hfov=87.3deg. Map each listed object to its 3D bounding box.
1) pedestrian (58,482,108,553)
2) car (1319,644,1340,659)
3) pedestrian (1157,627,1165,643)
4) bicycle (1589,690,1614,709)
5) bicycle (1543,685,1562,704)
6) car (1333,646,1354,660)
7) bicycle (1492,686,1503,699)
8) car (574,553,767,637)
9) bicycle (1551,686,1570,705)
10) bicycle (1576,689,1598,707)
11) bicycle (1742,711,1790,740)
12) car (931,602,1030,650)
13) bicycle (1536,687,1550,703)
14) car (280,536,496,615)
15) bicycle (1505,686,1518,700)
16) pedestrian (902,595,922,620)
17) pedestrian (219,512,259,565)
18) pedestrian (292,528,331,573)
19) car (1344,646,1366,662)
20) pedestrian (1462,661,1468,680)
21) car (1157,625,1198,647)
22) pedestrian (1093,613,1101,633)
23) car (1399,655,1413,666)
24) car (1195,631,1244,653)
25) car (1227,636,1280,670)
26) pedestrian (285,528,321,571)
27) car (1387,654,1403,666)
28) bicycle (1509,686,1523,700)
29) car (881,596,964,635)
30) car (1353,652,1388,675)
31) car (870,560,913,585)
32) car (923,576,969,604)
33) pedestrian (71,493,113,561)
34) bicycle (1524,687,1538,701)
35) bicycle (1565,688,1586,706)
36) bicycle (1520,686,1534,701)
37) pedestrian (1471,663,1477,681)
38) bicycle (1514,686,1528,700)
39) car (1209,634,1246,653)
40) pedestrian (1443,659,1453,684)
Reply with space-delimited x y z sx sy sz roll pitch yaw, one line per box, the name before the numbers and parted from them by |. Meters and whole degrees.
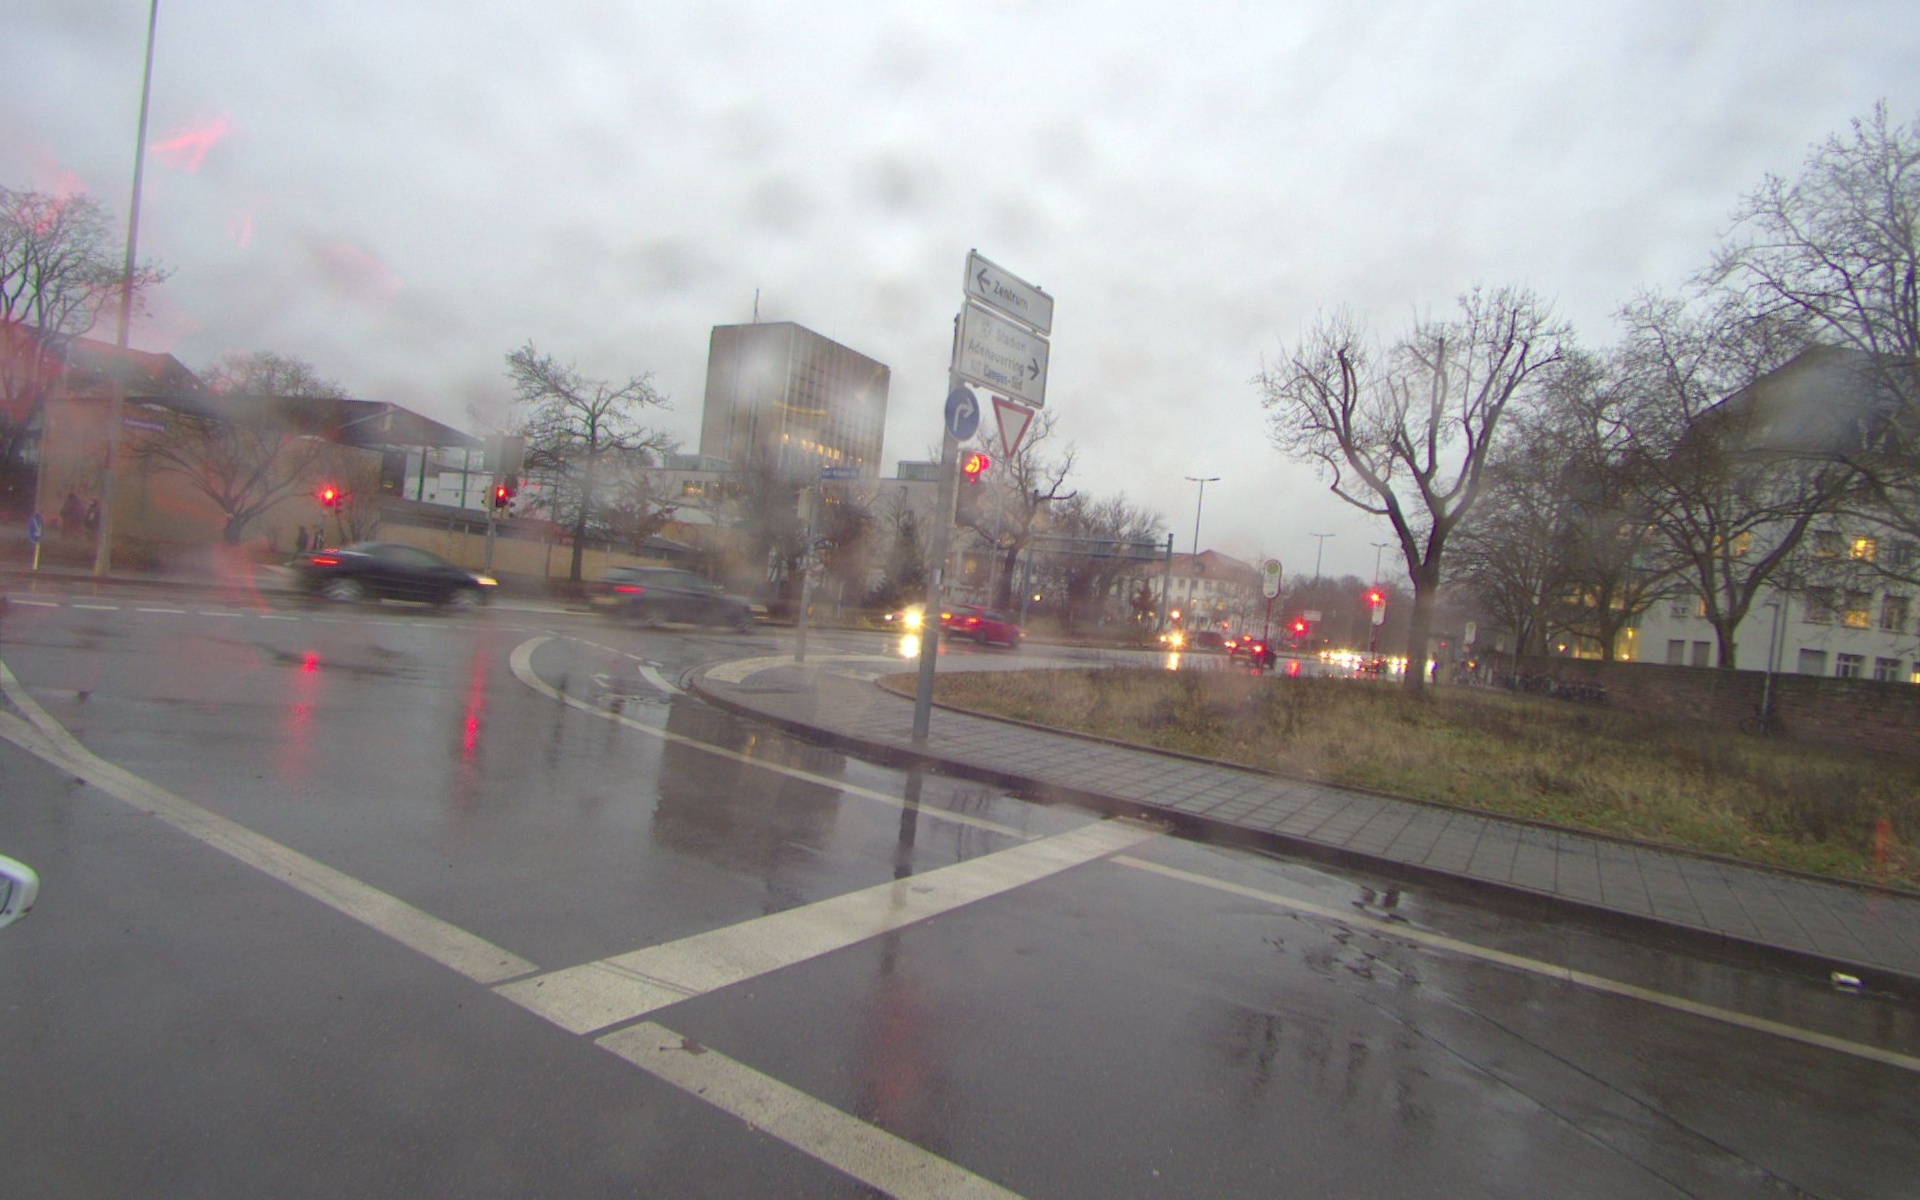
pedestrian | -28.556 -2.684 32.768 0.871 2.141 0.893 7 2 32
car | 49.289 6.856 134.147 1.966 1.783 3.992 7 1 29
pedestrian | 21.421 3.731 107.199 0.411 1.725 0.430 8 3 44
bicycle | 30.278 4.671 47.475 0.352 0.795 1.415 7 -2 8
bicycle | 31.845 5.073 54.087 0.387 0.927 1.532 7 -2 15
car | 53.430 7.387 140.174 1.966 1.783 3.992 7 1 29
bicycle | 36.393 6.244 68.106 0.387 0.795 1.532 7 -2 20
car | -6.907 -0.074 24.328 1.814 1.602 4.119 6 0 39
bicycle | 31.359 4.978 52.556 0.387 0.868 1.532 7 -2 15
bicycle | 30.552 4.767 48.999 0.387 0.795 1.533 7 -2 14
bicycle | 28.205 4.399 35.225 0.387 0.834 1.386 7 -2 -4
car | 0.870 1.071 40.119 1.813 1.602 4.123 6 0 36
bicycle | 32.416 5.288 55.952 0.387 0.795 1.607 7 -2 22
car | -12.549 -0.511 22.229 1.677 1.318 3.749 6 0 41
bicycle | 34.853 5.864 63.625 0.387 0.795 1.532 7 -2 20
pedestrian | -3.320 0.521 69.191 0.783 1.624 0.960 8 2 39
pedestrian | -26.664 -2.262 37.201 0.992 1.823 0.908 5 2 -41
pedestrian | -24.636 -1.864 38.212 1.028 1.553 0.923 8 2 41
car | 51.648 7.064 131.491 1.966 1.783 3.992 7 1 29
pedestrian | 50.268 7.032 100.128 0.313 1.816 0.461 7 2 32
car | 18.040 2.997 83.217 1.782 1.496 4.416 6 0 32
pedestrian | 12.631 2.119 92.773 0.411 1.725 0.430 8 3 44
car | 81.403 11.083 183.623 1.834 1.783 3.993 7 1 27
car | 29.412 4.750 114.093 2.027 1.903 5.291 5 0 -33
car | 17.361 3.159 59.378 1.811 1.710 4.313 6 -1 32
pedestrian | -25.391 -1.952 38.901 0.874 1.553 0.891 8 2 43
car | 71.001 9.794 164.280 1.965 1.783 3.993 7 1 27
bicycle | 34.353 5.739 62.151 0.387 0.795 1.532 7 -2 20
car | -1.669 0.740 46.695 1.780 1.496 4.420 6 0 28
car | 34.330 5.291 84.109 1.811 1.710 4.311 6 0 32
car | -7.176 -2.927 106.327 2.014 2.102 4.892 6 0 30
car | -1.384 -0.997 103.275 2.014 2.452 5.326 6 0 30
pedestrian | -29.108 -2.449 33.738 0.874 2.141 0.890 8 2 44
bicycle | 32.843 5.402 57.865 0.387 0.795 1.532 7 -2 19
bicycle | 31.041 4.874 50.744 0.343 0.848 1.493 7 -2 13
bicycle | 33.326 5.485 59.144 0.387 0.795 1.532 7 -2 20
pedestrian | 52.946 7.391 103.714 0.313 1.816 0.374 7 2 32
bicycle | 33.832 5.612 60.663 0.387 0.795 1.532 7 -2 20
car | 32.557 5.243 122.346 3.927 1.784 1.998 7 1 22
pedestrian | 42.408 6.205 87.435 0.557 2.040 0.595 8 2 33
